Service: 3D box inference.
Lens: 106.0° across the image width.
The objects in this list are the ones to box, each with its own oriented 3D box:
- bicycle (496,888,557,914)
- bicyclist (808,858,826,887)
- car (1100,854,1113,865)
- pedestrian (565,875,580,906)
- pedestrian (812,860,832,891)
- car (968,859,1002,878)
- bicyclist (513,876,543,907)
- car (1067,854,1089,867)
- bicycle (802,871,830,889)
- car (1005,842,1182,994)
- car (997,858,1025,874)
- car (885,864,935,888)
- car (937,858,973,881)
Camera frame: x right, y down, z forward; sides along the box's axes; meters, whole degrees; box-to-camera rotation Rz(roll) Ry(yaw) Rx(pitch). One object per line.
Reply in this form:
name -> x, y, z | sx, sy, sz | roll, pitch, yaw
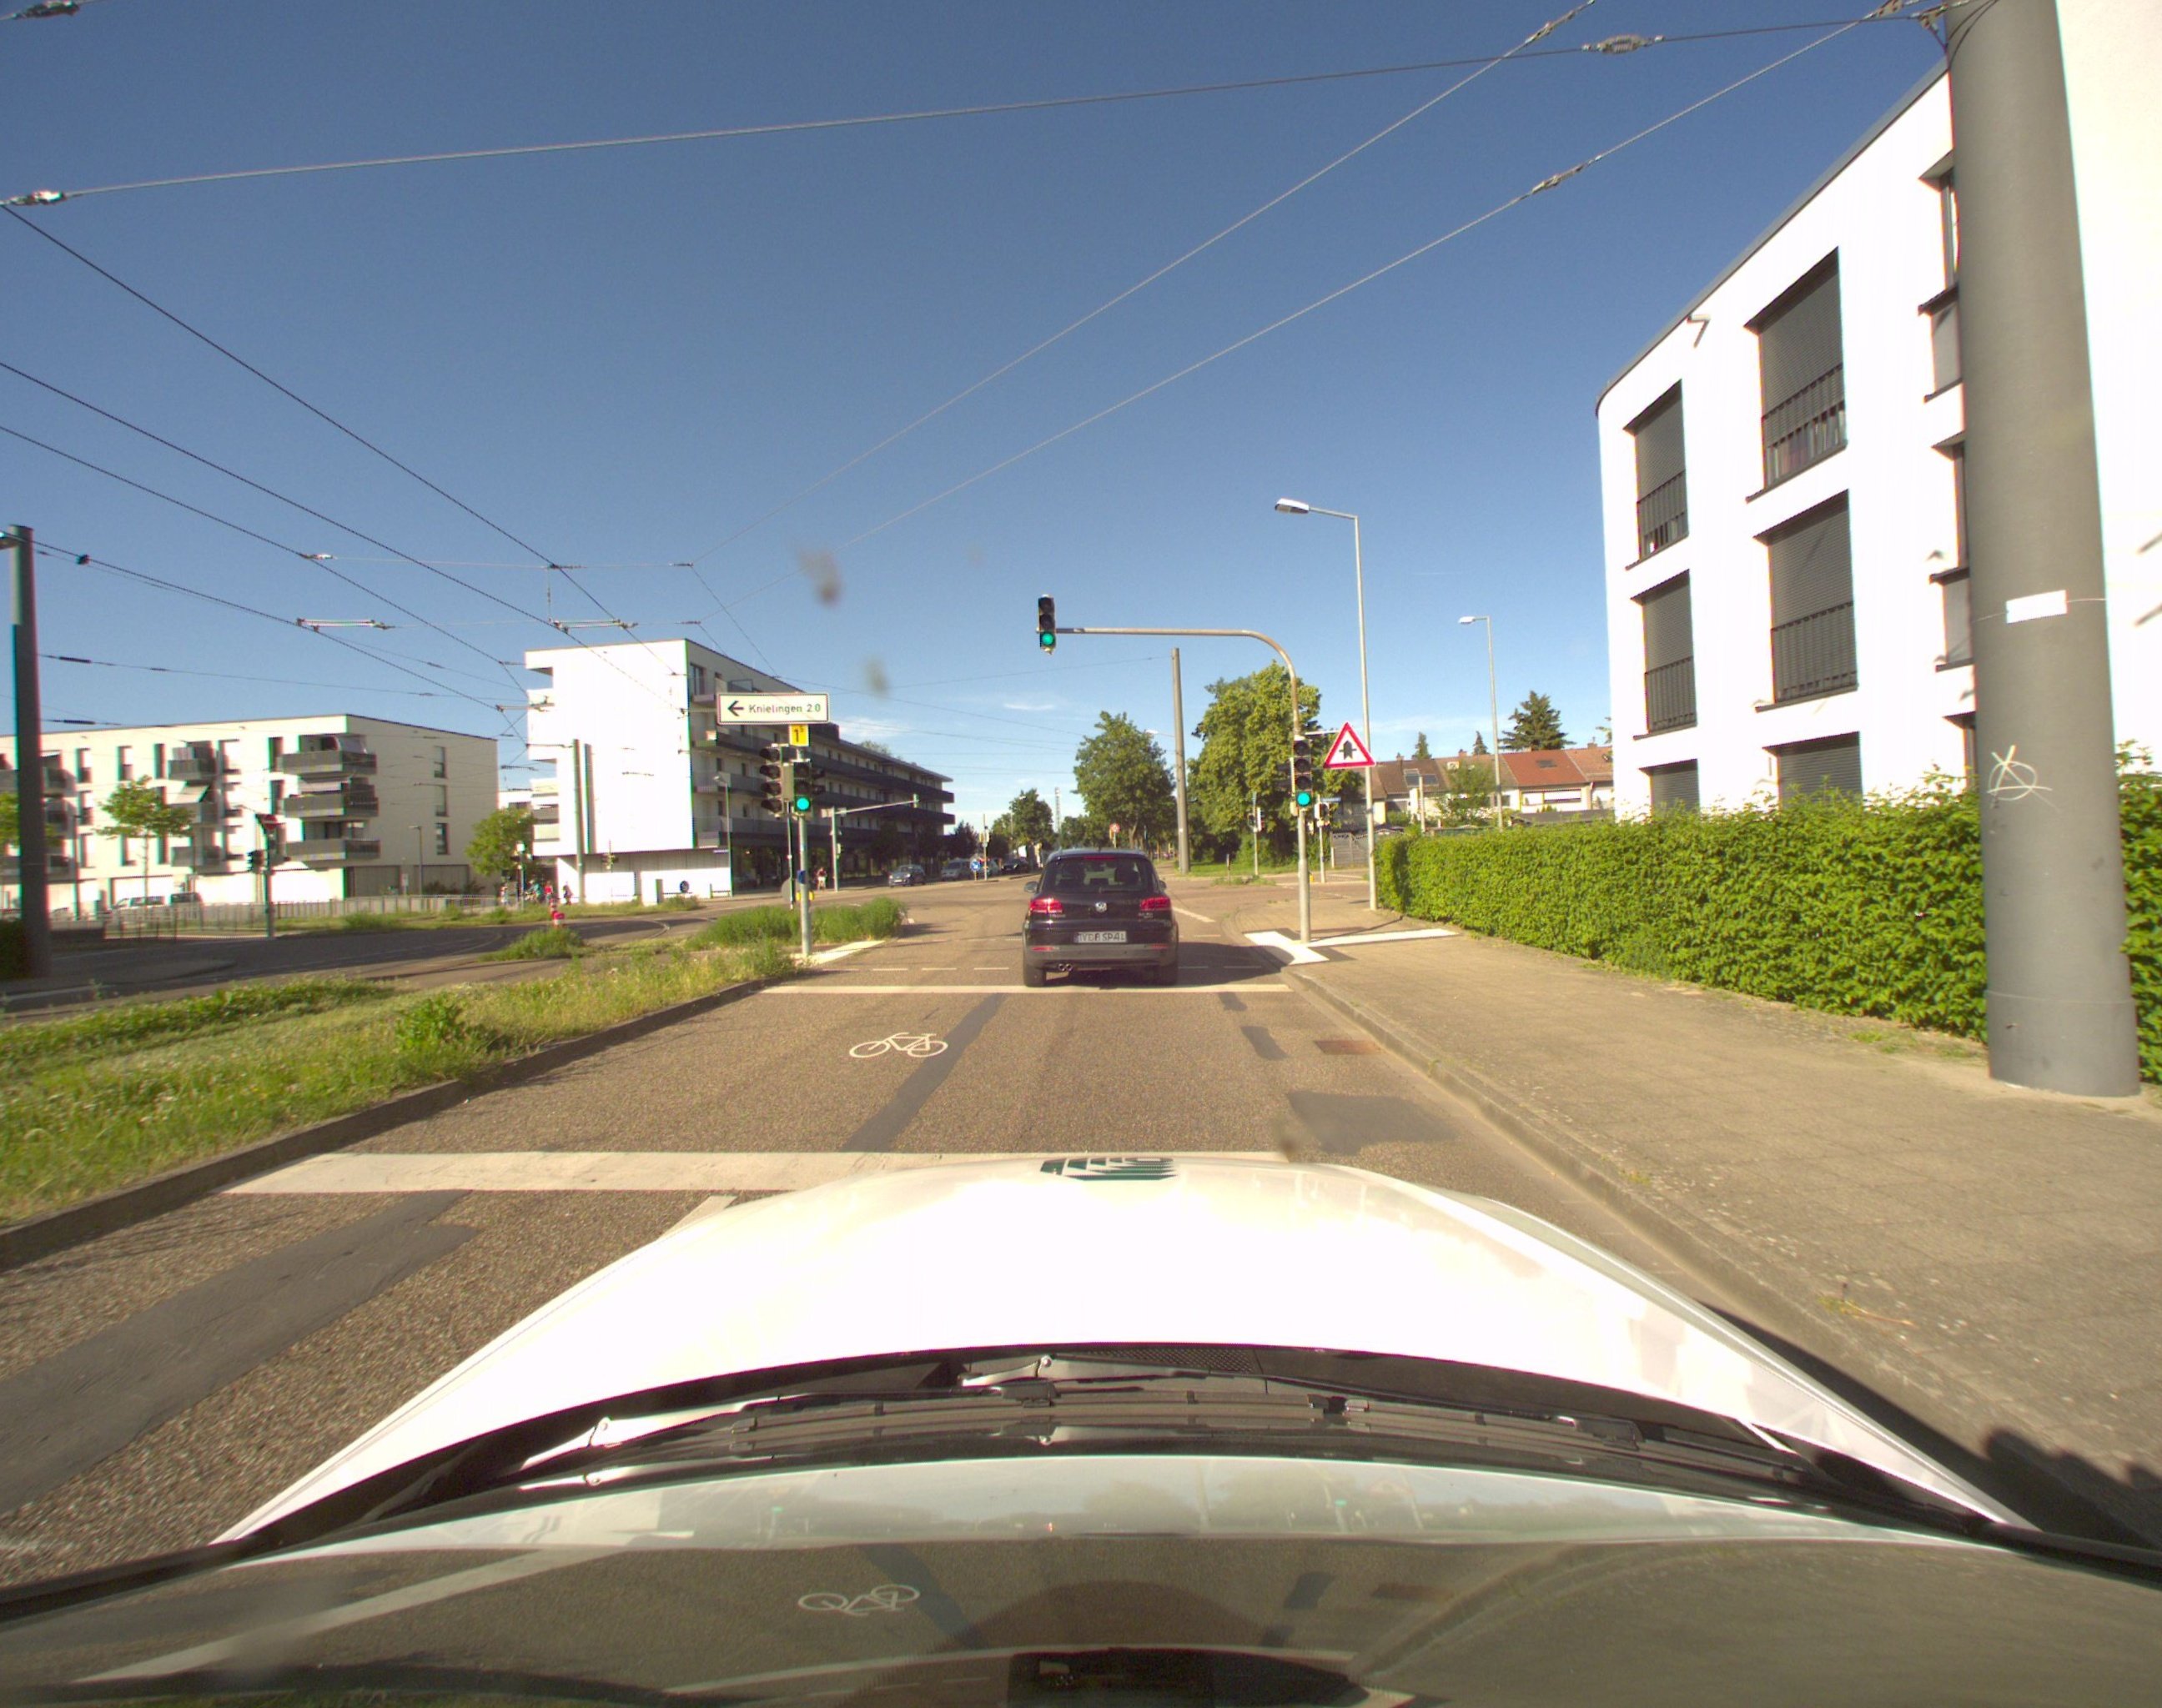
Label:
bicycle -> -29.657, 2.499, 43.619 | 0.894, 1.198, 2.835 | -3, 0, 13
bicyclist -> -18.456, 1.288, 56.889 | 0.787, 2.013, 0.814 | -3, 0, 10
car -> 4.713, 0.990, 151.100 | 1.984, 1.737, 5.207 | -3, 0, 6
pedestrian -> -26.975, 1.944, 43.188 | 0.455, 1.622, 0.504 | -1, -1, 1
pedestrian -> -17.304, 1.458, 54.425 | 0.973, 2.013, 0.761 | -3, -1, 1
car -> -8.787, 1.308, 74.784 | 1.981, 1.487, 3.554 | -5, 0, 10
bicyclist -> -29.664, 2.010, 43.677 | 0.886, 1.592, 0.916 | -3, 0, 12
car -> -0.384, 0.798, 107.628 | 1.980, 1.571, 4.013 | -3, 0, 12
bicycle -> -18.488, 1.791, 56.894 | 1.628, 1.144, 0.747 | -3, 0, 9
car -> 0.225, 0.710, 11.203 | 1.922, 1.654, 4.516 | -1, 0, 2
car -> -7.102, 1.207, 83.107 | 1.957, 1.534, 4.748 | -3, 0, 6
car -> -11.819, 1.528, 56.682 | 1.684, 1.456, 4.467 | -3, 0, 12
car -> -10.343, 1.224, 67.150 | 1.984, 1.755, 4.367 | -3, 0, 4
